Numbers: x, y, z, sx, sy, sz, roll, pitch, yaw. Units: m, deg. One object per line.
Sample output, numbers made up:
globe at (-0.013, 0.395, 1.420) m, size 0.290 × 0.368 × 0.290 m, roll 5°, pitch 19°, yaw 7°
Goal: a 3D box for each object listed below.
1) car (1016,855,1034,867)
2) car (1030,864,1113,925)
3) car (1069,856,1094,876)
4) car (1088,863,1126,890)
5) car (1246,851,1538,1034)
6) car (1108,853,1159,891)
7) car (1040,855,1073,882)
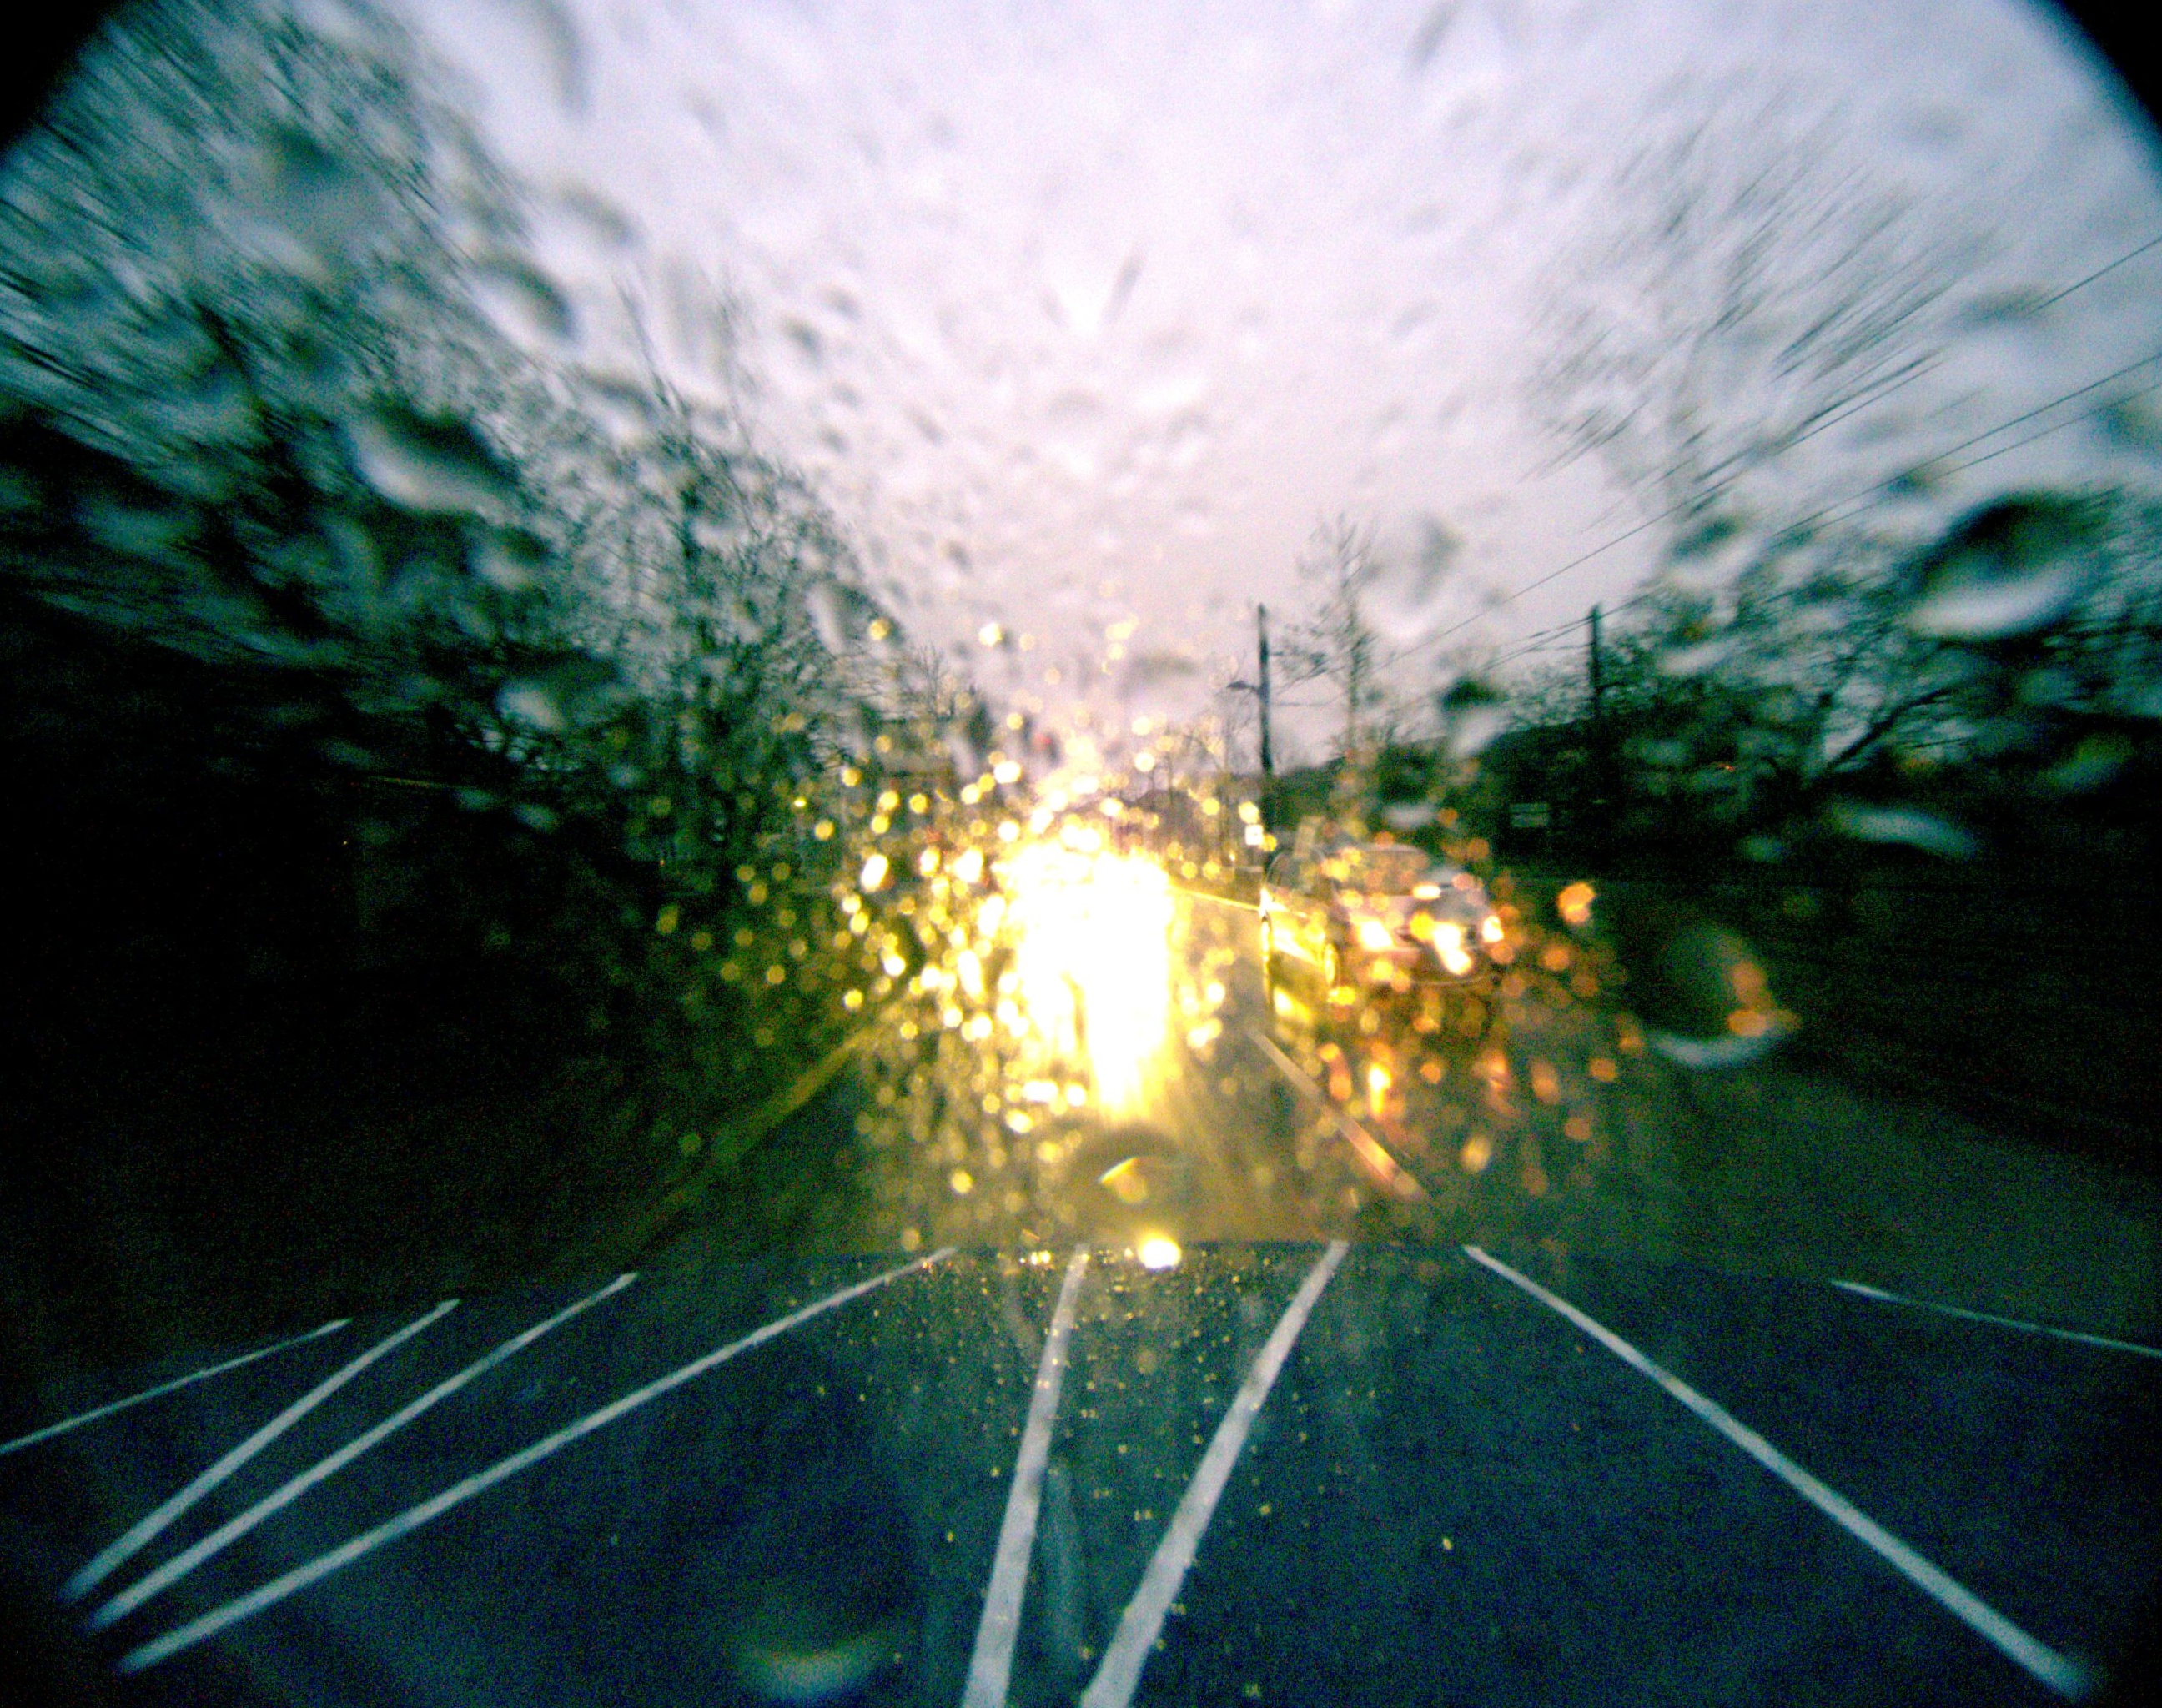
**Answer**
car at (-7.572, 0.980, 102.983) m, size 1.951 × 1.546 × 4.213 m, roll -3°, pitch 0°, yaw -11°
car at (-0.317, 0.962, 19.754) m, size 1.897 × 1.347 × 4.288 m, roll -1°, pitch 0°, yaw -3°
car at (0.010, 1.033, 65.951) m, size 1.950 × 1.546 × 4.216 m, roll -3°, pitch 0°, yaw -3°
car at (1.646, 1.429, 49.470) m, size 1.845 × 1.546 × 4.215 m, roll -3°, pitch 0°, yaw -6°
car at (3.222, 0.801, 8.788) m, size 1.669 × 1.566 × 3.922 m, roll -3°, pitch 0°, yaw -1°
car at (2.326, 0.761, 34.729) m, size 1.924 × 1.546 × 4.217 m, roll -3°, pitch 0°, yaw -1°
car at (-1.577, 0.877, 47.837) m, size 1.950 × 1.546 × 4.216 m, roll -3°, pitch 0°, yaw -3°
